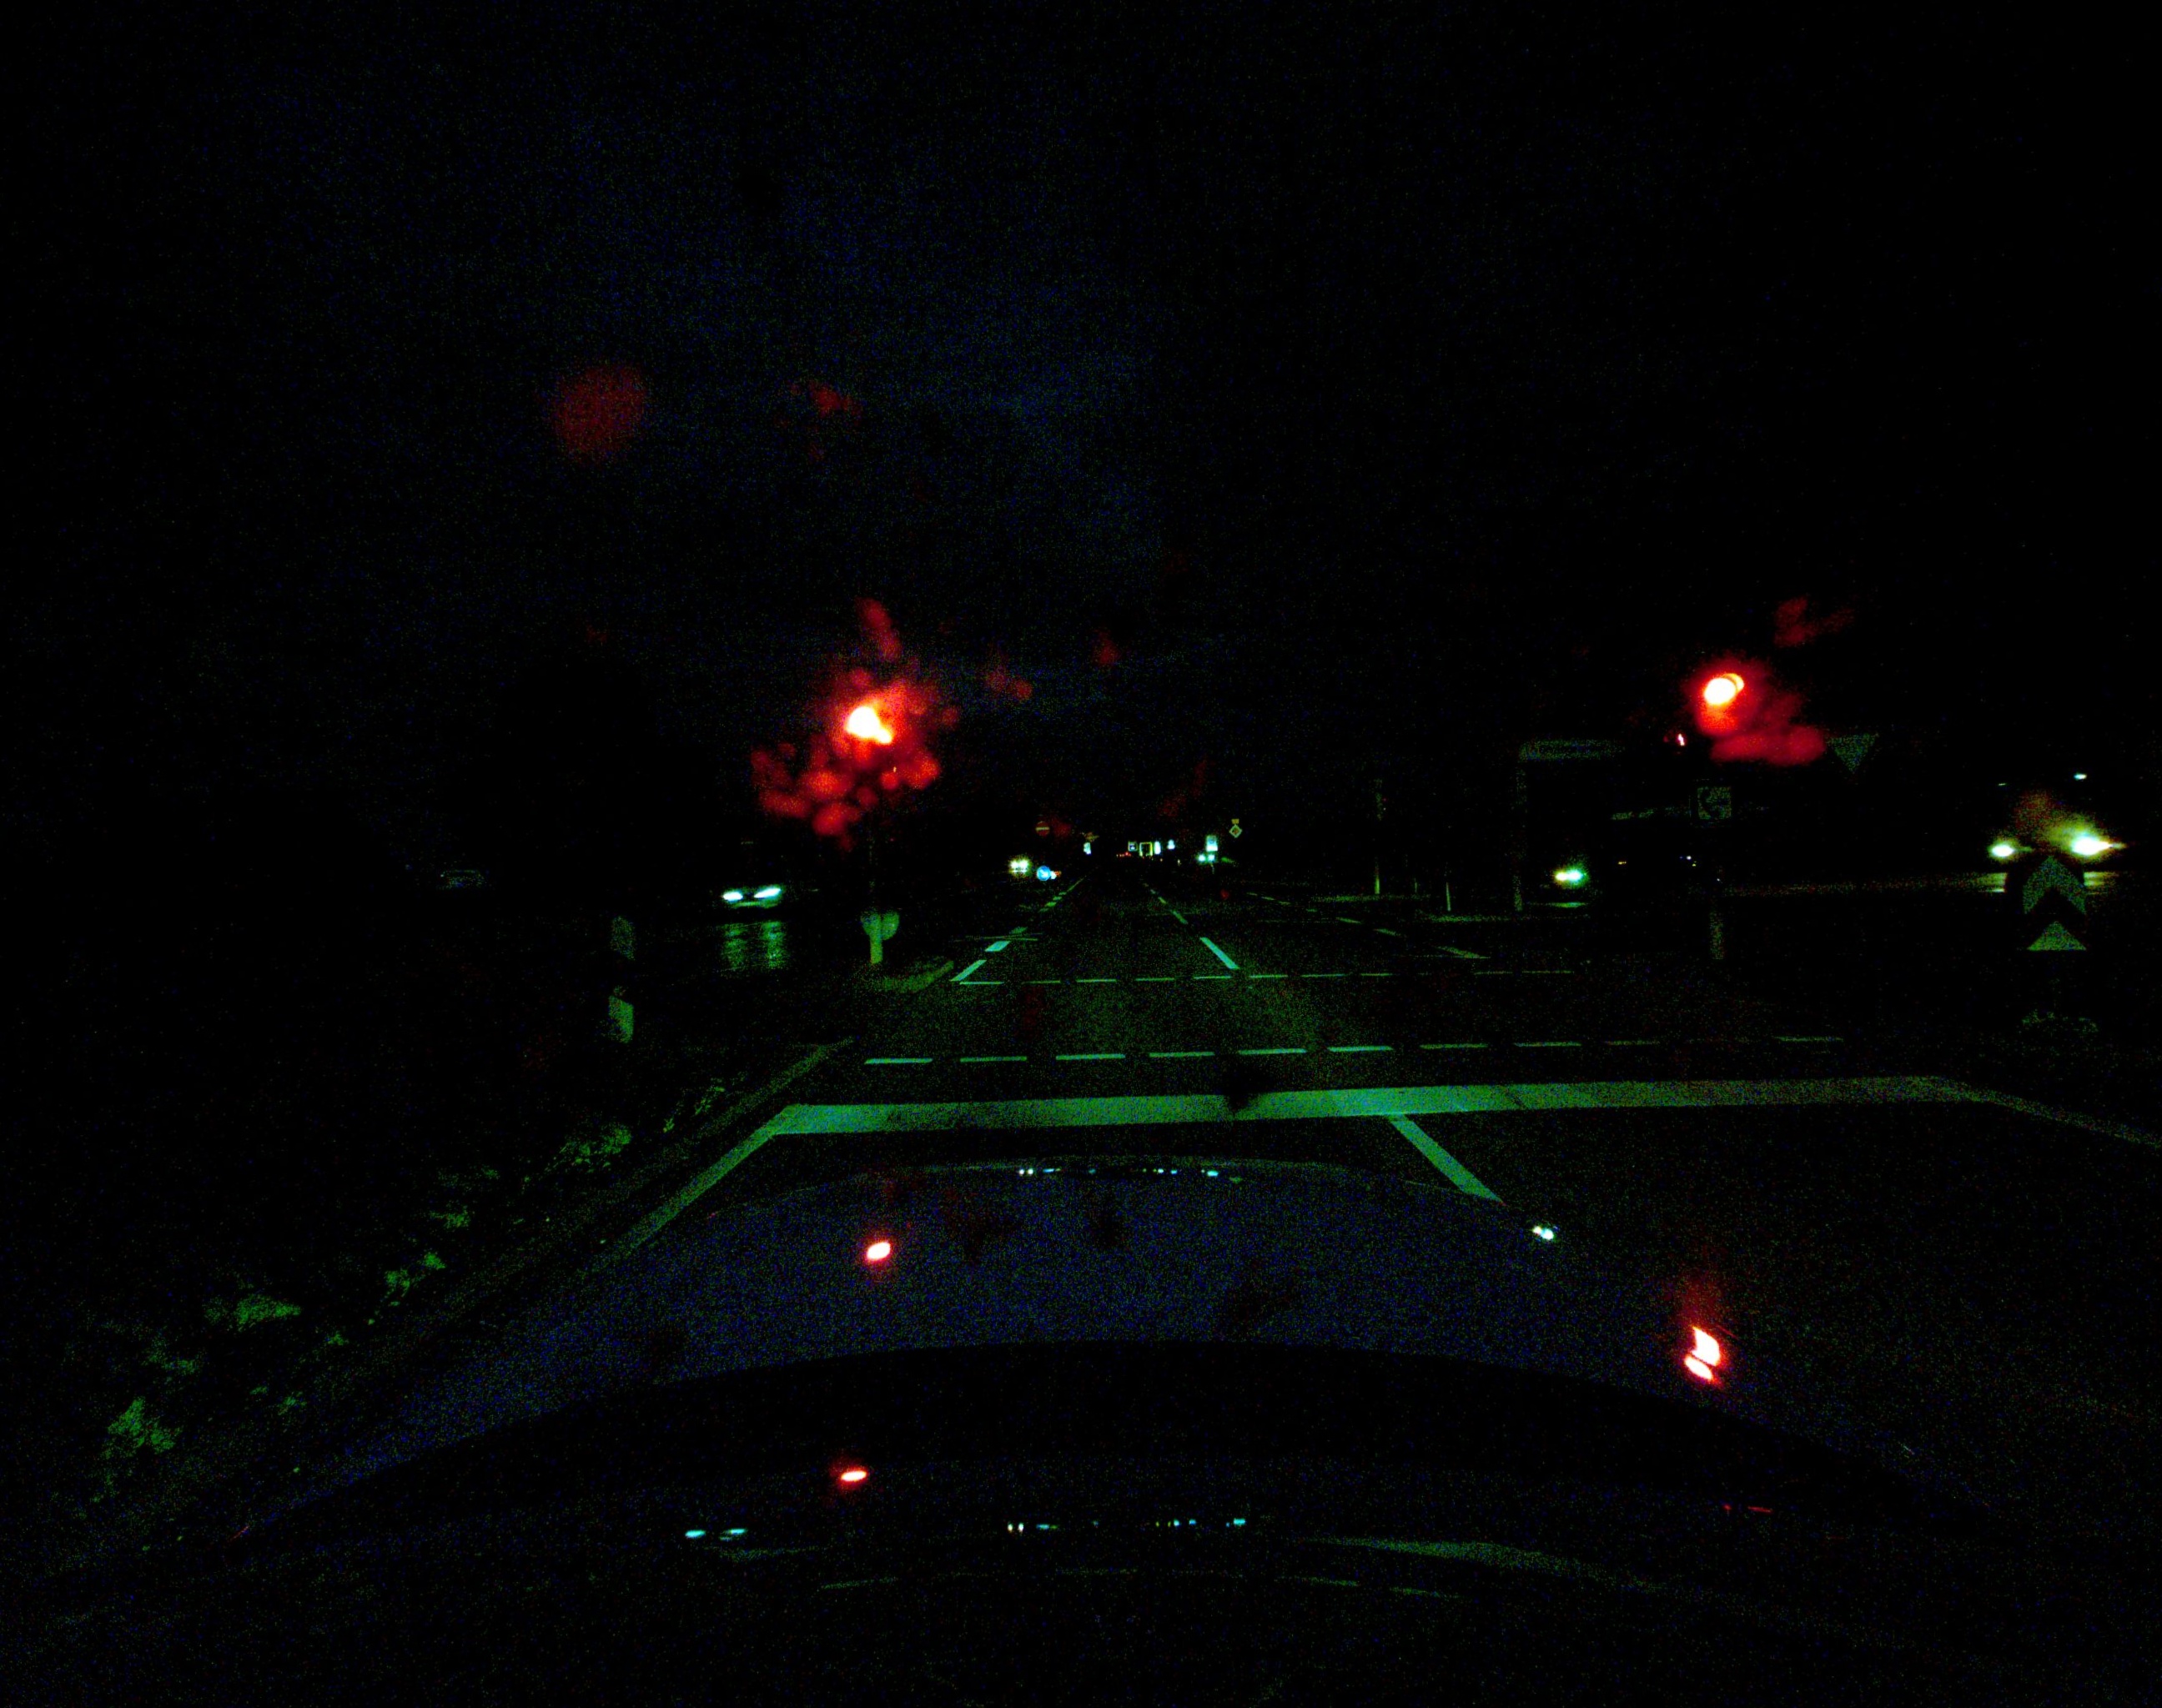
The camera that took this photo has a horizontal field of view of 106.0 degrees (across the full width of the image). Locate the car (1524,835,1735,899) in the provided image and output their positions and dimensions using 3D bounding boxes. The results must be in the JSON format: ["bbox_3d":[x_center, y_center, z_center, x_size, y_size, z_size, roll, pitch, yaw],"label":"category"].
[{"bbox_3d":[15.423,0.347,23.107,4.583,1.520,2.001,-3,0,2],"label":"car"}]

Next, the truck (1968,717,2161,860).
[{"bbox_3d":[33.423,-2.073,25.137,10.033,3.979,2.917,-3,0,-8],"label":"truck"}]

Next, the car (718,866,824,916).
[{"bbox_3d":[-10.924,1.266,29.079,1.986,1.519,4.299,-2,0,2],"label":"car"}]

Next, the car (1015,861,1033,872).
[{"bbox_3d":[-7.860,1.777,112.810,1.986,1.387,4.002,-2,0,2],"label":"car"}]
